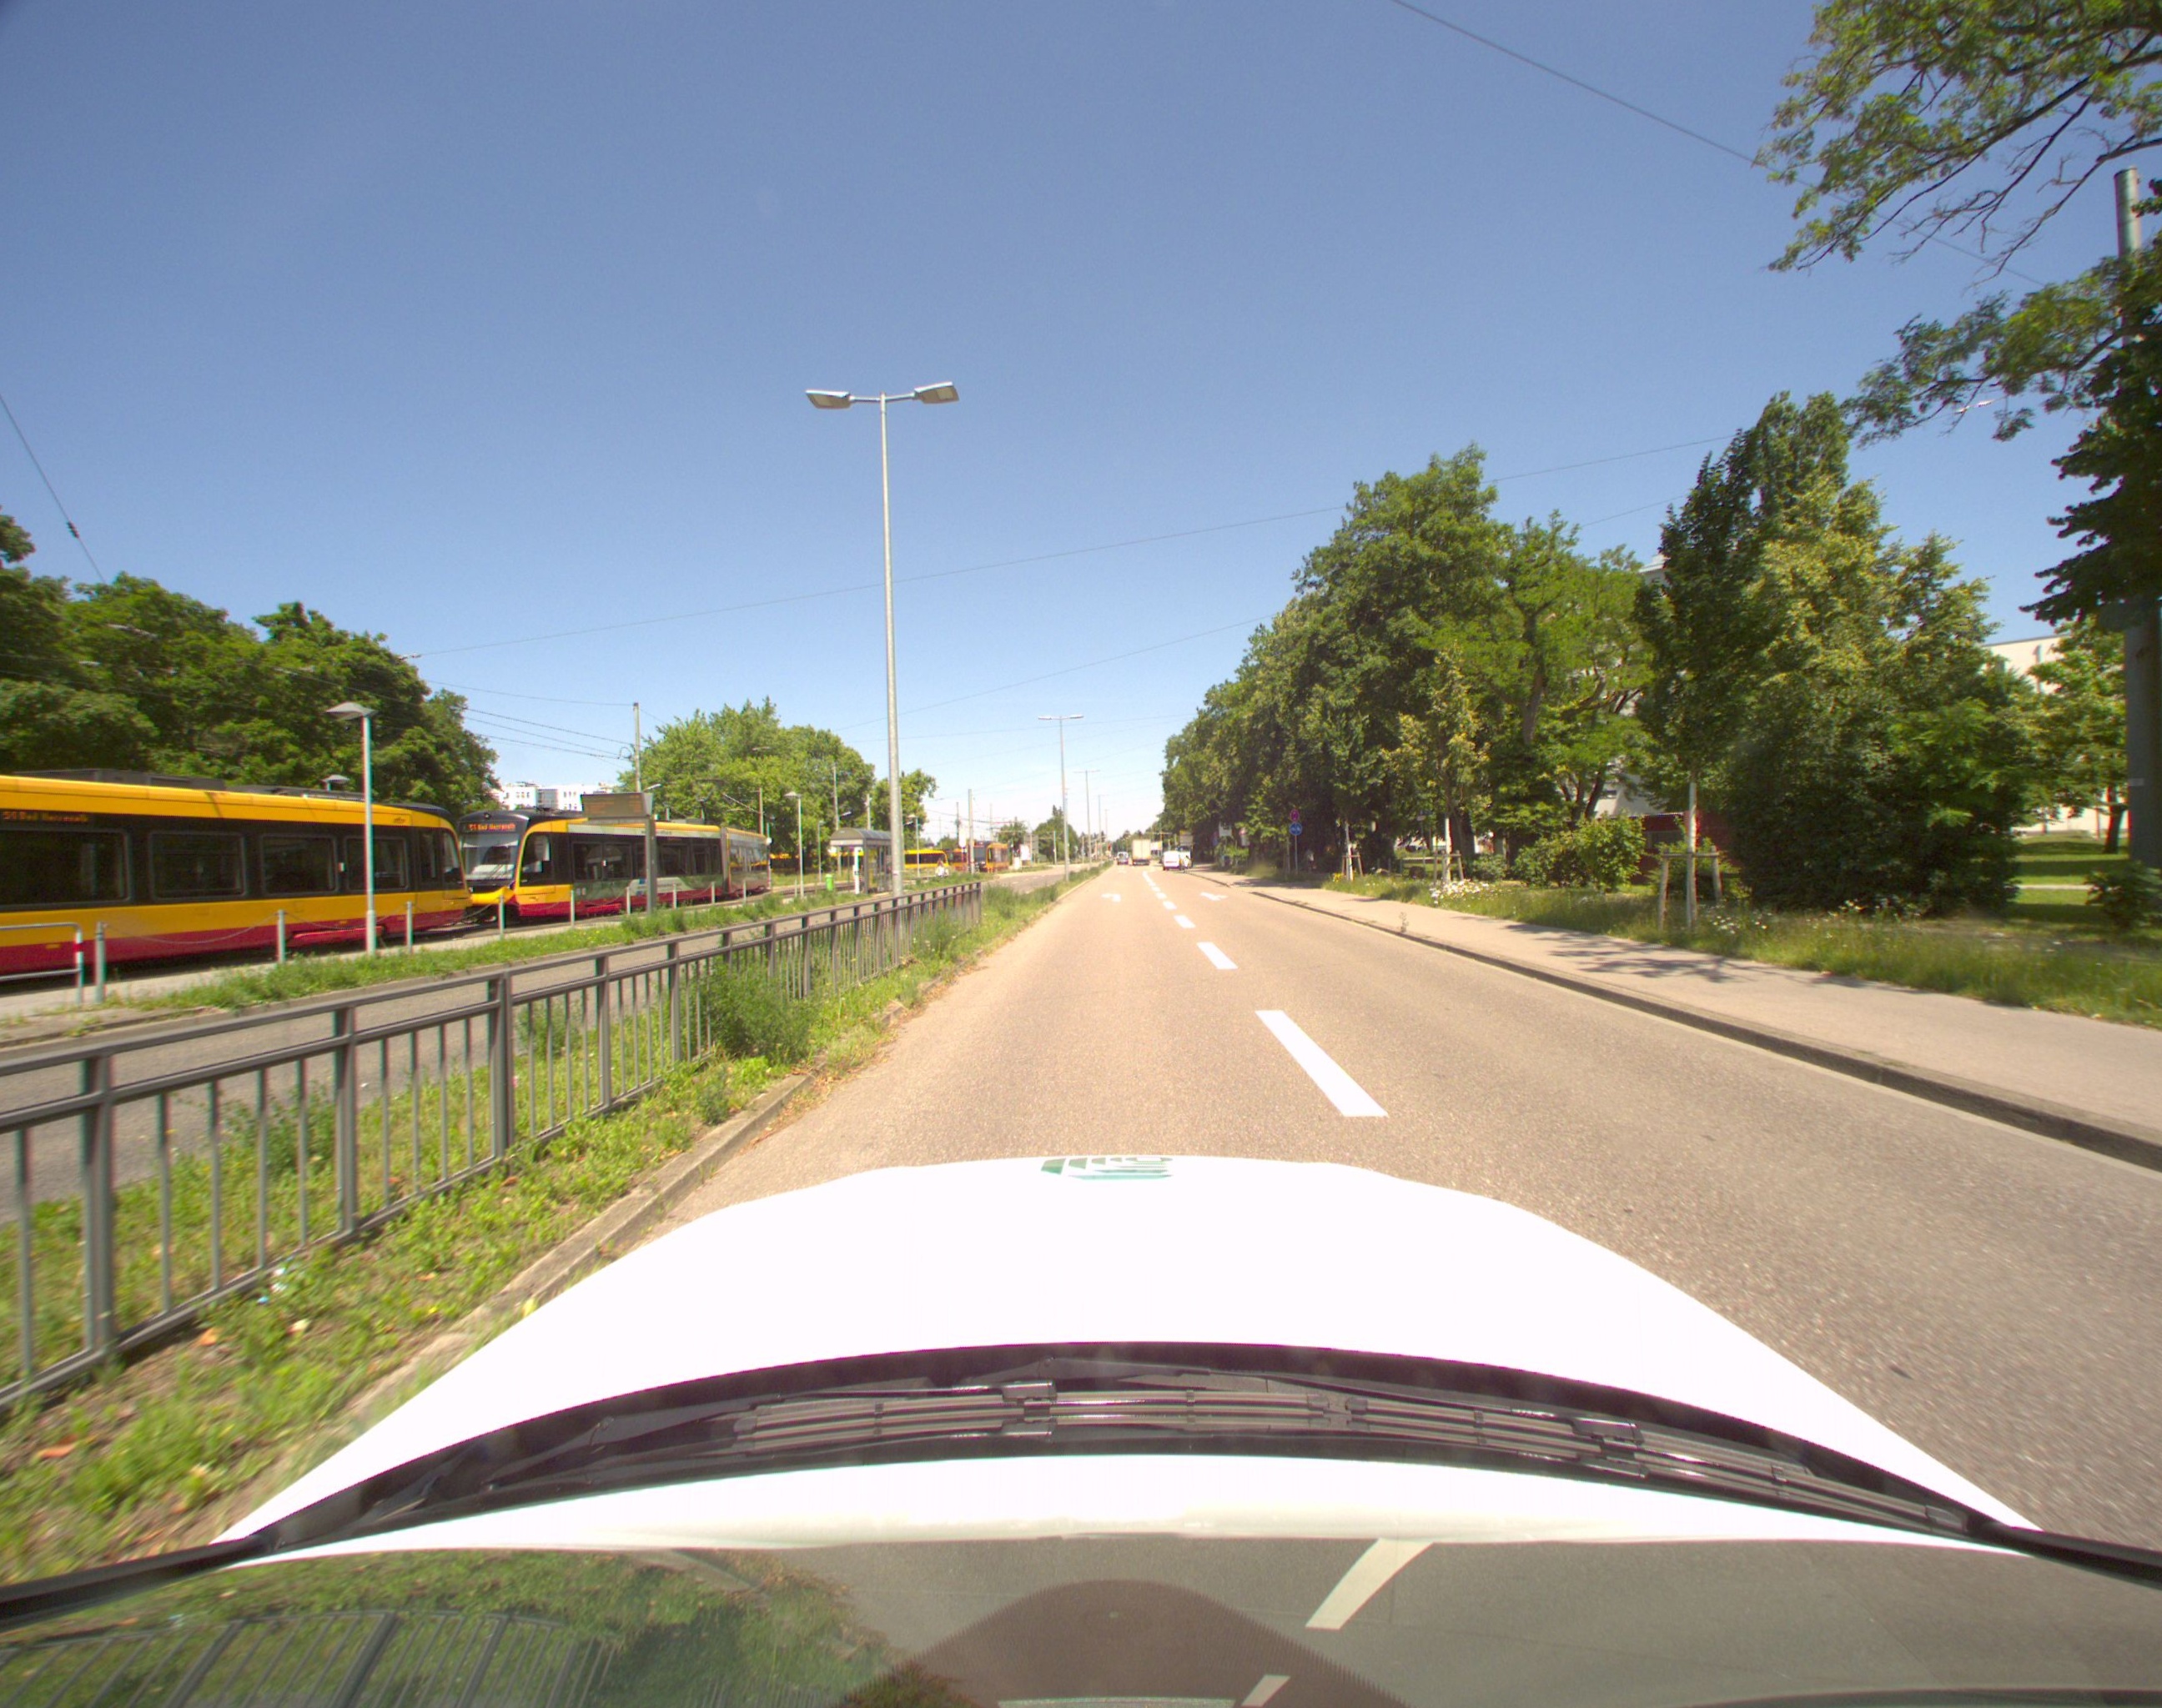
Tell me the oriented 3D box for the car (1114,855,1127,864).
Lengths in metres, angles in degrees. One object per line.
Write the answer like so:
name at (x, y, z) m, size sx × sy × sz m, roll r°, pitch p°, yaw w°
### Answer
car at (6.241, 0.865, 128.763) m, size 1.885 × 1.372 × 4.432 m, roll 1°, pitch -2°, yaw 2°

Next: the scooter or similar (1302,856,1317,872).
scooter or similar at (13.360, 0.582, 47.569) m, size 0.705 × 0.893 × 0.764 m, roll -1°, pitch 0°, yaw 4°

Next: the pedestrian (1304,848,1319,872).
pedestrian at (13.306, 0.331, 47.019) m, size 0.705 × 1.398 × 0.764 m, roll -1°, pitch 0°, yaw 4°

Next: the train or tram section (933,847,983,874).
train or tram section at (-17.244, 0.833, 113.049) m, size 3.053 × 3.466 × 12.638 m, roll 0°, pitch 0°, yaw -27°

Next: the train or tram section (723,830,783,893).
train or tram section at (-21.407, 0.417, 52.741) m, size 3.058 × 3.624 × 12.351 m, roll 0°, pitch 0°, yaw -24°

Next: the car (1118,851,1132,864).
car at (7.345, 0.568, 135.787) m, size 1.987 × 2.111 × 4.747 m, roll -1°, pitch 1°, yaw 0°

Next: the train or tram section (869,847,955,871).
train or tram section at (-25.294, 0.819, 121.735) m, size 12.613 × 3.466 × 3.059 m, roll -1°, pitch 0°, yaw 15°

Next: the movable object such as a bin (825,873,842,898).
movable object such as a bin at (-10.241, 1.305, 33.719) m, size 0.480 × 0.978 × 0.645 m, roll -2°, pitch 0°, yaw -1°

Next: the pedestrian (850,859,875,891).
pedestrian at (-10.777, 1.043, 40.199) m, size 0.927 × 1.546 × 0.985 m, roll -1°, pitch 0°, yaw 1°

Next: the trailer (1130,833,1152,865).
trailer at (8.598, -0.736, 117.592) m, size 2.816 × 4.421 × 8.752 m, roll -1°, pitch 0°, yaw 2°

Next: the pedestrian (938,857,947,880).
pedestrian at (-9.565, 0.991, 56.312) m, size 0.532 × 1.565 × 0.583 m, roll -1°, pitch 0°, yaw 1°

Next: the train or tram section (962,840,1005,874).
train or tram section at (-10.707, 0.269, 90.886) m, size 3.026 × 3.466 × 13.294 m, roll -1°, pitch 0°, yaw 1°

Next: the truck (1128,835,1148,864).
truck at (8.818, -0.789, 126.149) m, size 2.816 × 4.344 × 8.287 m, roll 0°, pitch 1°, yaw 2°

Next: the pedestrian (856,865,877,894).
pedestrian at (-9.818, 1.171, 37.311) m, size 0.698 × 1.283 × 0.840 m, roll -1°, pitch 0°, yaw 1°

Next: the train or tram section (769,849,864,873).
train or tram section at (-39.856, 1.077, 123.260) m, size 13.224 × 3.466 × 3.036 m, roll -1°, pitch 0°, yaw -11°

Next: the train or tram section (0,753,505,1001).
train or tram section at (-17.700, 0.354, 15.748) m, size 3.031 × 3.767 × 13.273 m, roll -1°, pitch 0°, yaw 3°

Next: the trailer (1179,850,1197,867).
trailer at (10.777, 0.421, 82.269) m, size 1.463 × 1.669 × 2.857 m, roll -1°, pitch 0°, yaw 2°

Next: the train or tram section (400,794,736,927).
train or tram section at (-17.040, 0.167, 29.320) m, size 3.033 × 3.624 × 13.900 m, roll -1°, pitch 0°, yaw 1°

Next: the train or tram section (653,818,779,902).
train or tram section at (-18.021, 0.251, 41.302) m, size 3.045 × 3.624 × 12.404 m, roll 0°, pitch 0°, yaw -11°

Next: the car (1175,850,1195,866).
car at (10.907, 0.420, 85.894) m, size 1.693 × 1.654 × 4.400 m, roll -1°, pitch 0°, yaw 2°

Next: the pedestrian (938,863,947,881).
pedestrian at (-9.443, 1.205, 55.379) m, size 0.492 × 1.189 × 0.401 m, roll -1°, pitch 0°, yaw 4°

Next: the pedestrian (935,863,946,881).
pedestrian at (-9.469, 1.193, 54.872) m, size 0.578 × 1.189 × 0.536 m, roll -1°, pitch 0°, yaw 1°

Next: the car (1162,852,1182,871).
car at (8.465, 0.667, 76.024) m, size 1.702 × 1.747 × 4.432 m, roll -1°, pitch 0°, yaw 4°
